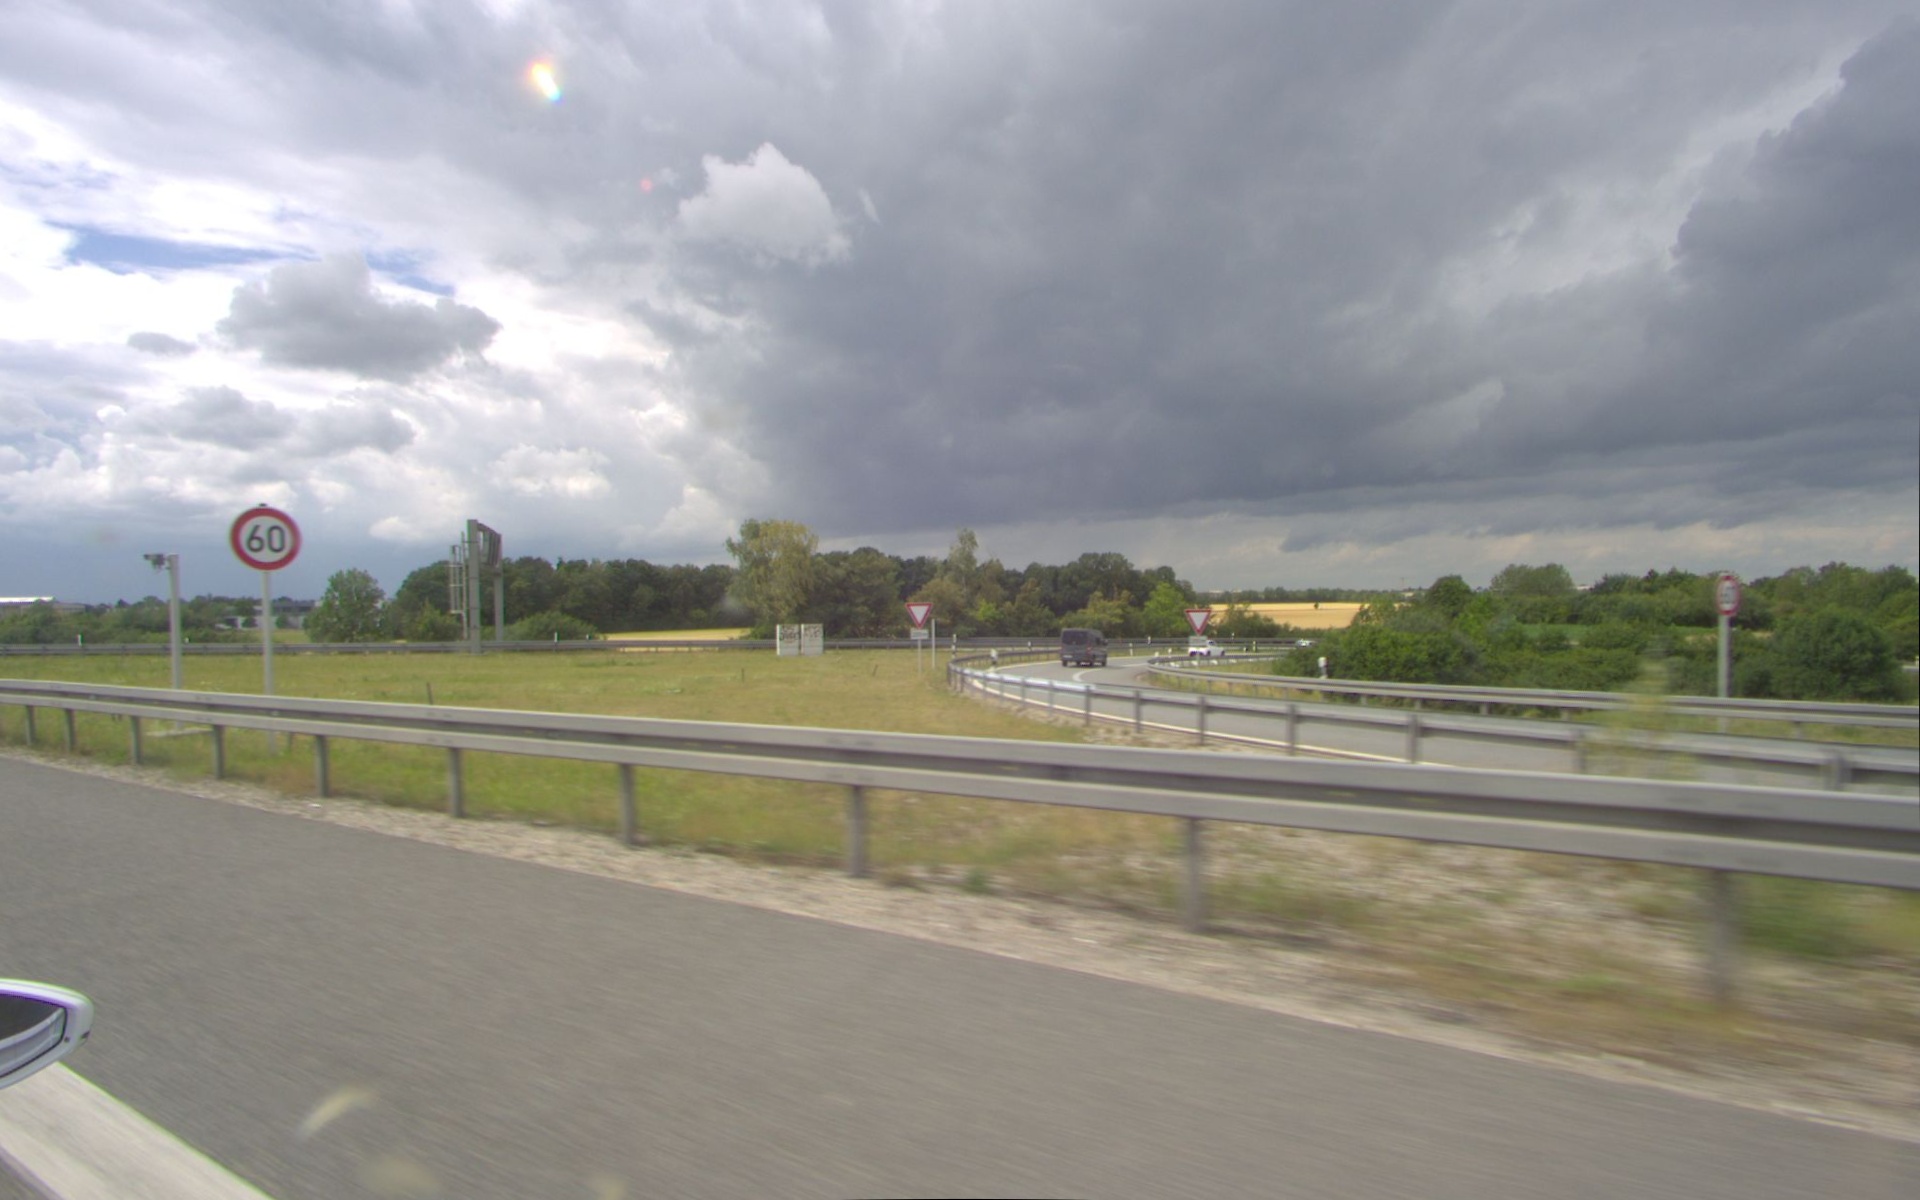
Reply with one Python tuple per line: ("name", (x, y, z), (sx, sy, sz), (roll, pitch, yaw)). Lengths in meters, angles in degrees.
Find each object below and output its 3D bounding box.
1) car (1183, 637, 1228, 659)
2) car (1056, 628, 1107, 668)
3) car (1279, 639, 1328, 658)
("car", (20.931, 4.068, 85.319), (3.962, 1.731, 1.980), (2, -1, -44))
("car", (7.598, 2.912, 62.149), (1.880, 2.291, 4.637), (1, -1, 23))
("car", (32.752, 4.622, 95.479), (3.926, 1.731, 1.998), (1, 0, -12))
